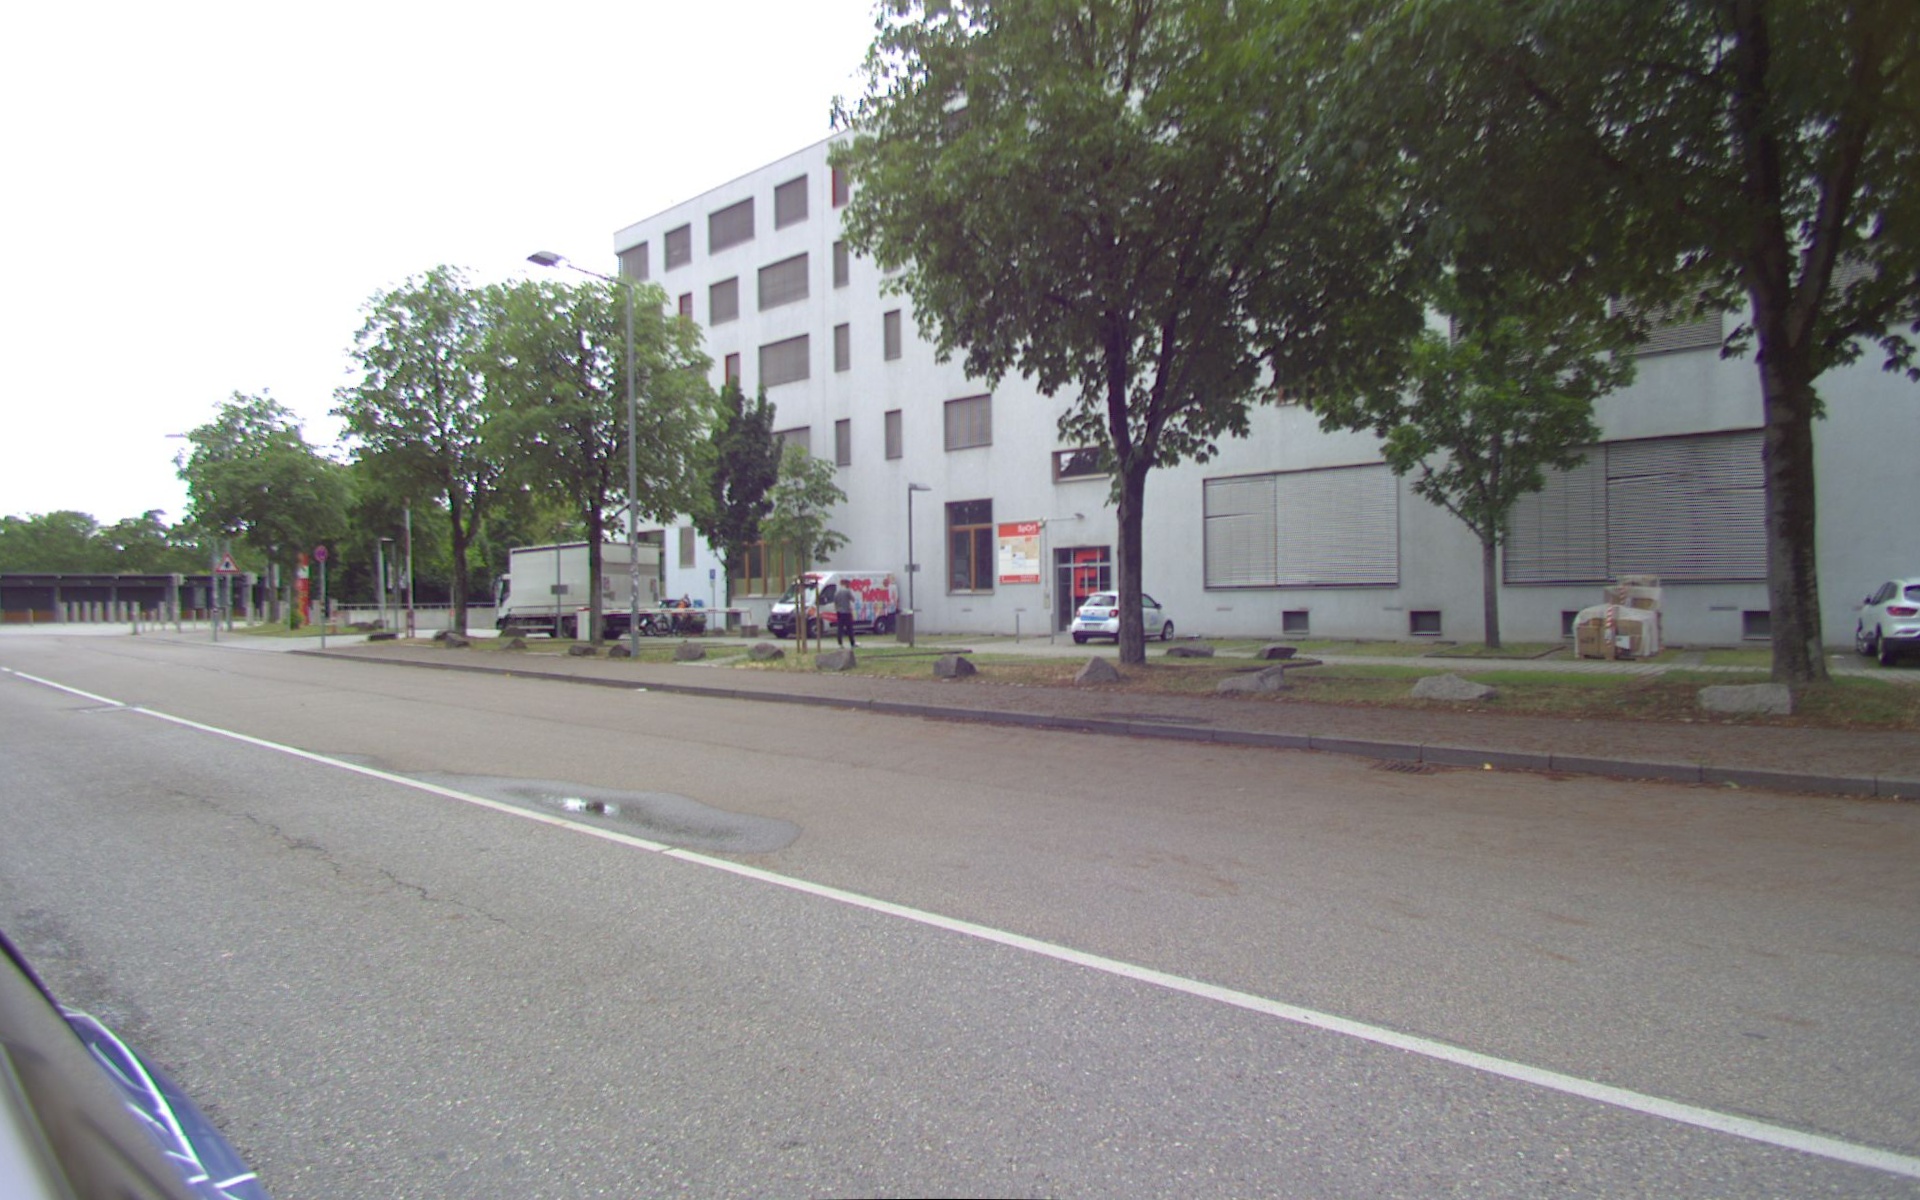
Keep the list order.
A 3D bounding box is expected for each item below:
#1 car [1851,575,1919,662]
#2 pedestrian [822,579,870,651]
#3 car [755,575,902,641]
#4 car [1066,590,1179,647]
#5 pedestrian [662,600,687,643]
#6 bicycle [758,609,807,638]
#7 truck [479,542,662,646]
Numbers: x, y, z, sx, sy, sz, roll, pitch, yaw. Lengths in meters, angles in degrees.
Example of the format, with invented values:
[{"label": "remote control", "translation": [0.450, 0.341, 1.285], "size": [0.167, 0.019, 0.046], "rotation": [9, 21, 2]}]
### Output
[{"label": "car", "translation": [17.936, 0.285, 18.649], "size": [1.896, 1.467, 3.963], "rotation": [0, 1, 36]}, {"label": "pedestrian", "translation": [-2.746, 0.346, 24.382], "size": [0.785, 1.684, 0.836], "rotation": [0, 1, 35]}, {"label": "car", "translation": [-4.851, 0.231, 38.081], "size": [2.078, 2.296, 5.569], "rotation": [0, 1, 40]}, {"label": "car", "translation": [4.832, 0.493, 29.784], "size": [1.691, 1.511, 3.576], "rotation": [0, 1, 40]}, {"label": "pedestrian", "translation": [-11.041, 0.813, 39.187], "size": [0.873, 1.618, 0.681], "rotation": [-1, 1, -13]}, {"label": "bicycle", "translation": [-7.252, 0.959, 41.433], "size": [0.614, 1.078, 2.002], "rotation": [0, 2, 44]}, {"label": "truck", "translation": [-15.071, -0.267, 38.829], "size": [8.354, 3.627, 2.651], "rotation": [0, 1, 38]}]
